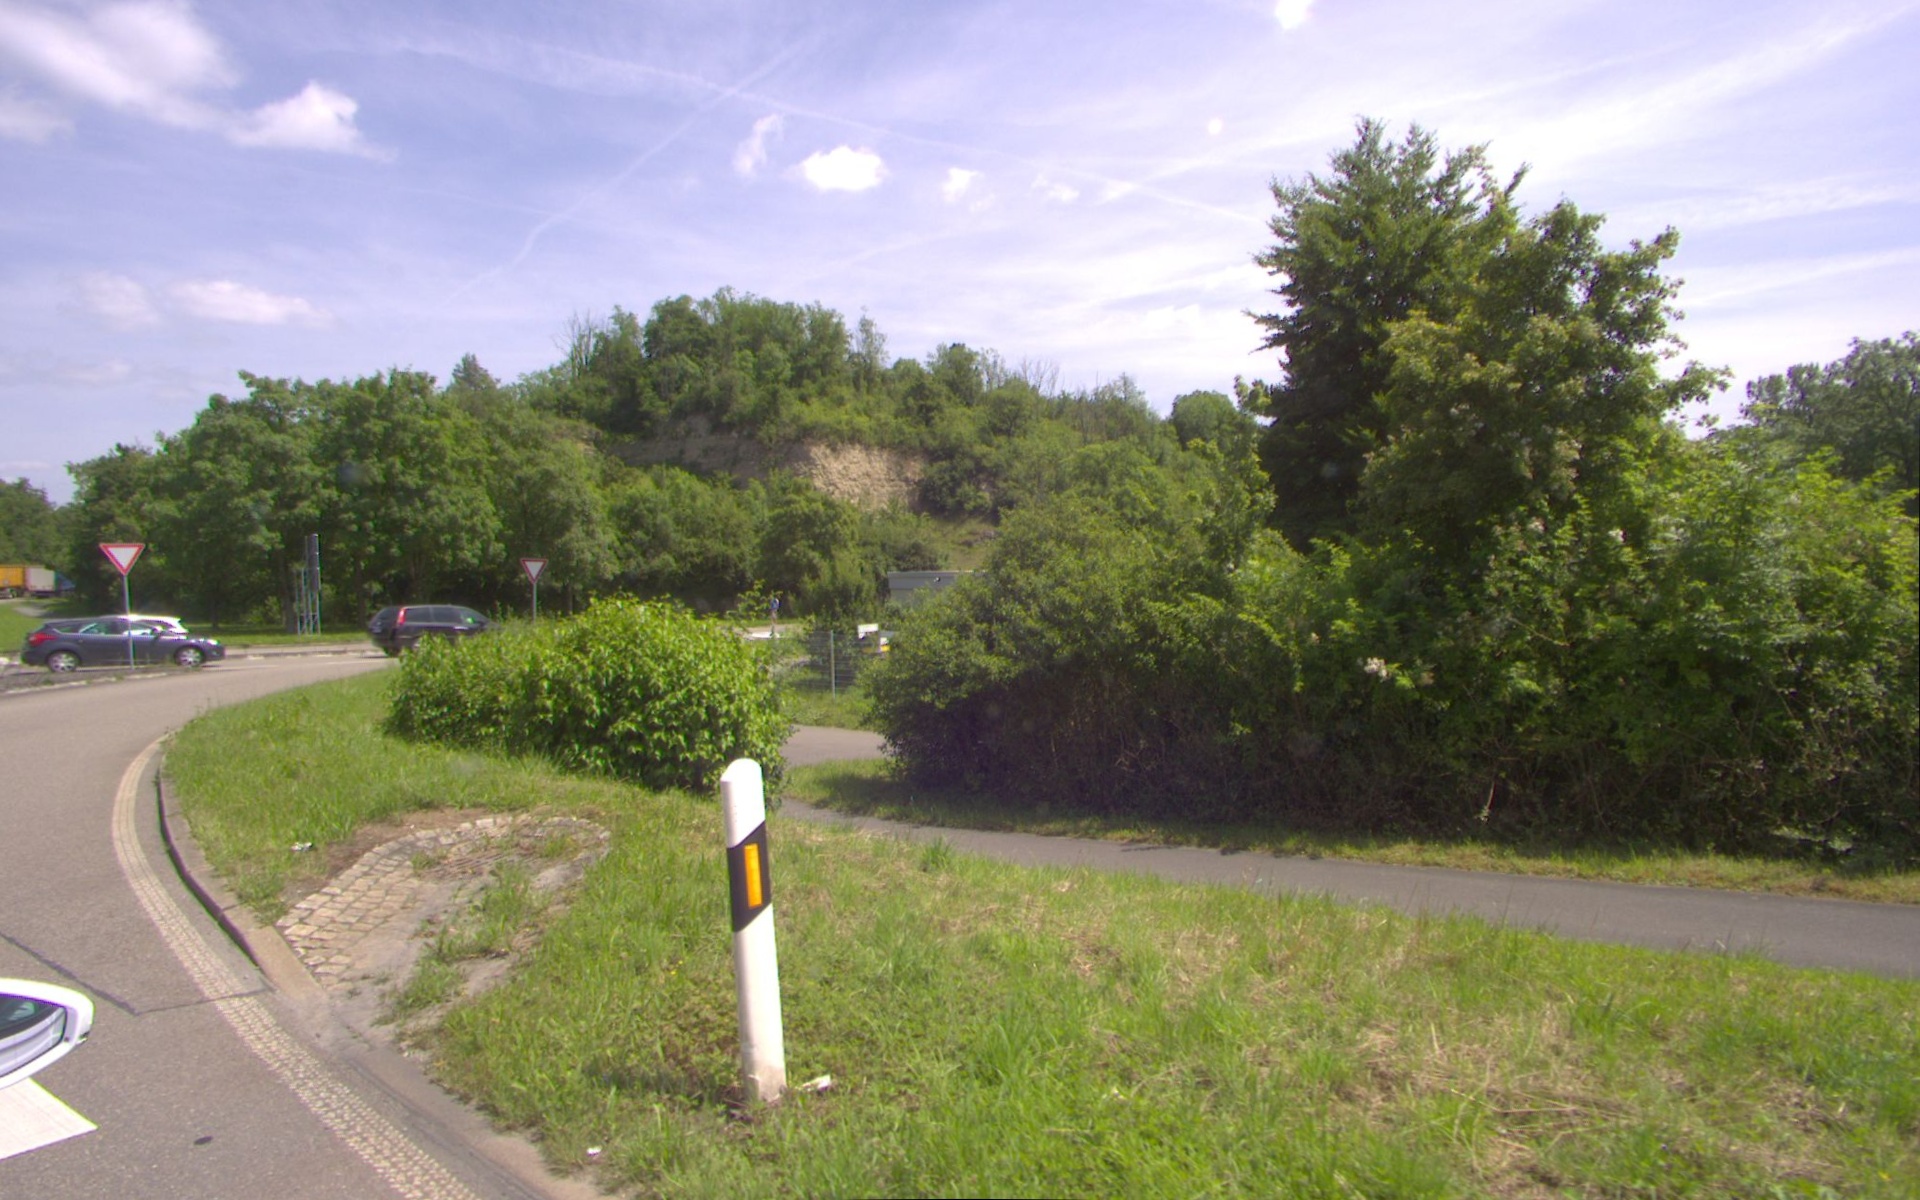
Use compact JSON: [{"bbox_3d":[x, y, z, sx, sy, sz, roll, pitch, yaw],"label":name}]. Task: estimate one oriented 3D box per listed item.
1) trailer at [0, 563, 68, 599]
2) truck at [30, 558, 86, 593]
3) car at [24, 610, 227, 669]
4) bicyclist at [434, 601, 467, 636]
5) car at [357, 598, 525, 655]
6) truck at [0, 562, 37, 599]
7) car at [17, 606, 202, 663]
[{"bbox_3d":[-122.187,-2.312,129.600,4.952,4.420,20.740,0,0,-27],"label":"trailer"},{"bbox_3d":[-115.471,-3.022,128.327,3.145,4.082,11.678,0,0,-31],"label":"truck"},{"bbox_3d":[-23.091,1.092,27.840,4.213,1.509,1.983,1,-3,-42],"label":"car"},{"bbox_3d":[-21.838,0.805,42.899,0.784,1.466,1.004,-2,-2,30],"label":"bicyclist"},{"bbox_3d":[-17.990,0.937,34.987,1.971,1.807,4.919,-3,-3,31],"label":"car"},{"bbox_3d":[-118.670,-2.354,122.849,4.952,4.420,11.710,0,0,-27],"label":"truck"},{"bbox_3d":[-28.253,1.151,33.388,1.975,1.740,4.413,-3,-3,37],"label":"car"}]
